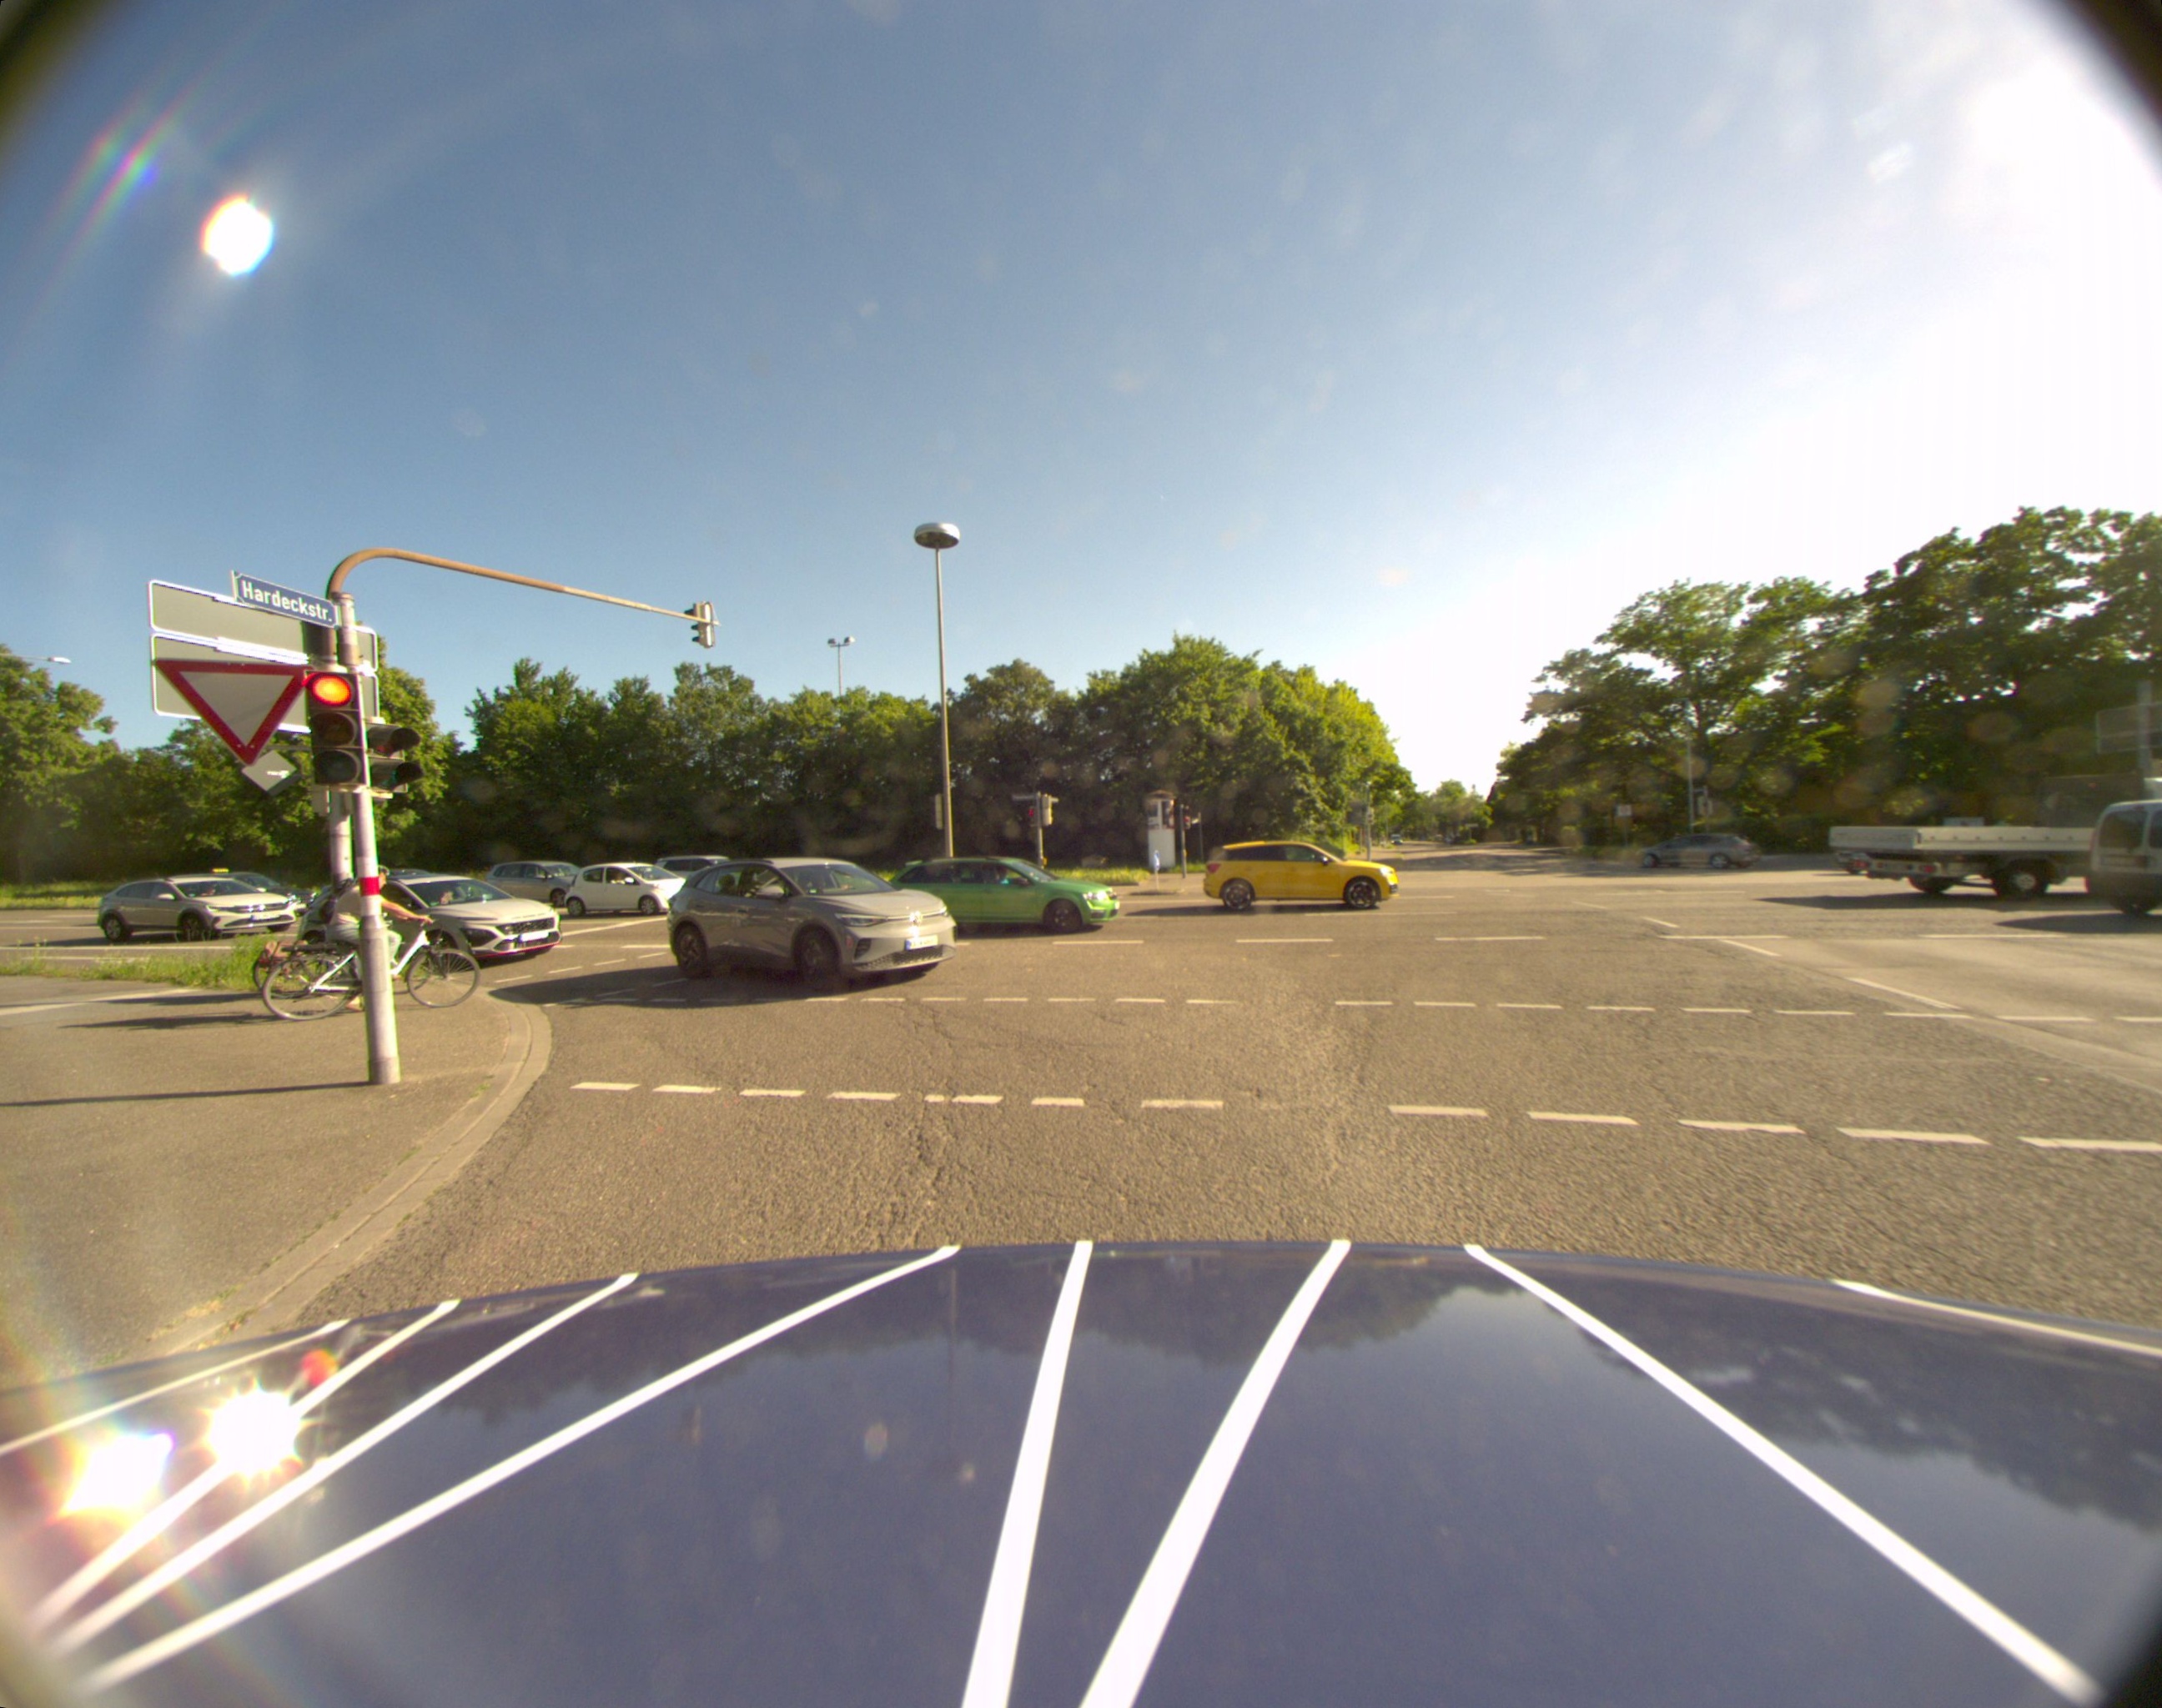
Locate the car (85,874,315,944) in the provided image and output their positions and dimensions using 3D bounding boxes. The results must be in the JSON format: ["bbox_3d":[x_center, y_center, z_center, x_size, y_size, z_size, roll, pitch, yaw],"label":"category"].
[{"bbox_3d":[-22.117,1.356,19.135,4.357,1.478,1.921,-1,3,14],"label":"car"}]

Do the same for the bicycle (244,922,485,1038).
[{"bbox_3d":[-7.998,1.354,8.582,0.529,1.070,1.875,2,-1,36],"label":"bicycle"}]

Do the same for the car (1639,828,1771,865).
[{"bbox_3d":[25.821,-0.367,31.573,1.643,1.391,3.881,-4,4,-29],"label":"car"}]

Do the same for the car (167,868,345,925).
[{"bbox_3d":[-26.191,1.337,24.184,3.995,1.533,1.623,-2,3,5],"label":"car"}]

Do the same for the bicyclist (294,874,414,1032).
[{"bbox_3d":[-8.077,1.058,8.457,0.541,1.625,0.810,2,-1,35],"label":"bicyclist"}]

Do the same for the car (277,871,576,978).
[{"bbox_3d":[-11.333,1.176,13.255,4.114,1.565,1.693,-1,3,12],"label":"car"}]

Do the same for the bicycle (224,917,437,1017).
[{"bbox_3d":[-9.498,1.395,9.727,1.874,1.070,0.529,1,1,-38],"label":"bicycle"}]

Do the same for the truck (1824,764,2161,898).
[{"bbox_3d":[18.899,-0.436,14.408,6.763,2.296,2.193,-1,1,12],"label":"truck"}]

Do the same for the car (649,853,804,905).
[{"bbox_3d":[-11.332,0.782,24.367,4.187,1.529,1.838,-1,1,12],"label":"car"}]

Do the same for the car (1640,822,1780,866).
[{"bbox_3d":[25.895,-0.451,31.433,1.811,1.644,4.093,-4,4,-32],"label":"car"}]

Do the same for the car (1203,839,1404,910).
[{"bbox_3d":[4.860,0.434,17.002,4.114,1.432,1.694,-1,2,12],"label":"car"}]

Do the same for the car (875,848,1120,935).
[{"bbox_3d":[-1.576,0.703,15.019,4.357,1.478,1.921,-1,3,14],"label":"car"}]

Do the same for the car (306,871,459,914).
[{"bbox_3d":[-25.243,1.387,27.516,4.348,1.397,1.838,-1,1,12],"label":"car"}]

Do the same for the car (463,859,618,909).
[{"bbox_3d":[-18.380,1.006,25.920,4.236,1.566,1.881,-1,1,12],"label":"car"}]

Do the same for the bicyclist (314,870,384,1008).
[{"bbox_3d":[-9.411,1.063,9.789,0.587,1.687,0.525,1,1,-38],"label":"bicyclist"}]

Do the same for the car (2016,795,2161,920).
[{"bbox_3d":[17.303,-0.022,11.037,4.356,1.719,1.922,-1,4,15],"label":"car"}]

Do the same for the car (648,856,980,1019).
[{"bbox_3d":[-3.712,0.922,10.325,4.352,1.631,1.997,0,4,35],"label":"car"}]

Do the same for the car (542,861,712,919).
[{"bbox_3d":[-12.699,0.994,21.335,3.905,1.432,1.693,-1,3,12],"label":"car"}]
